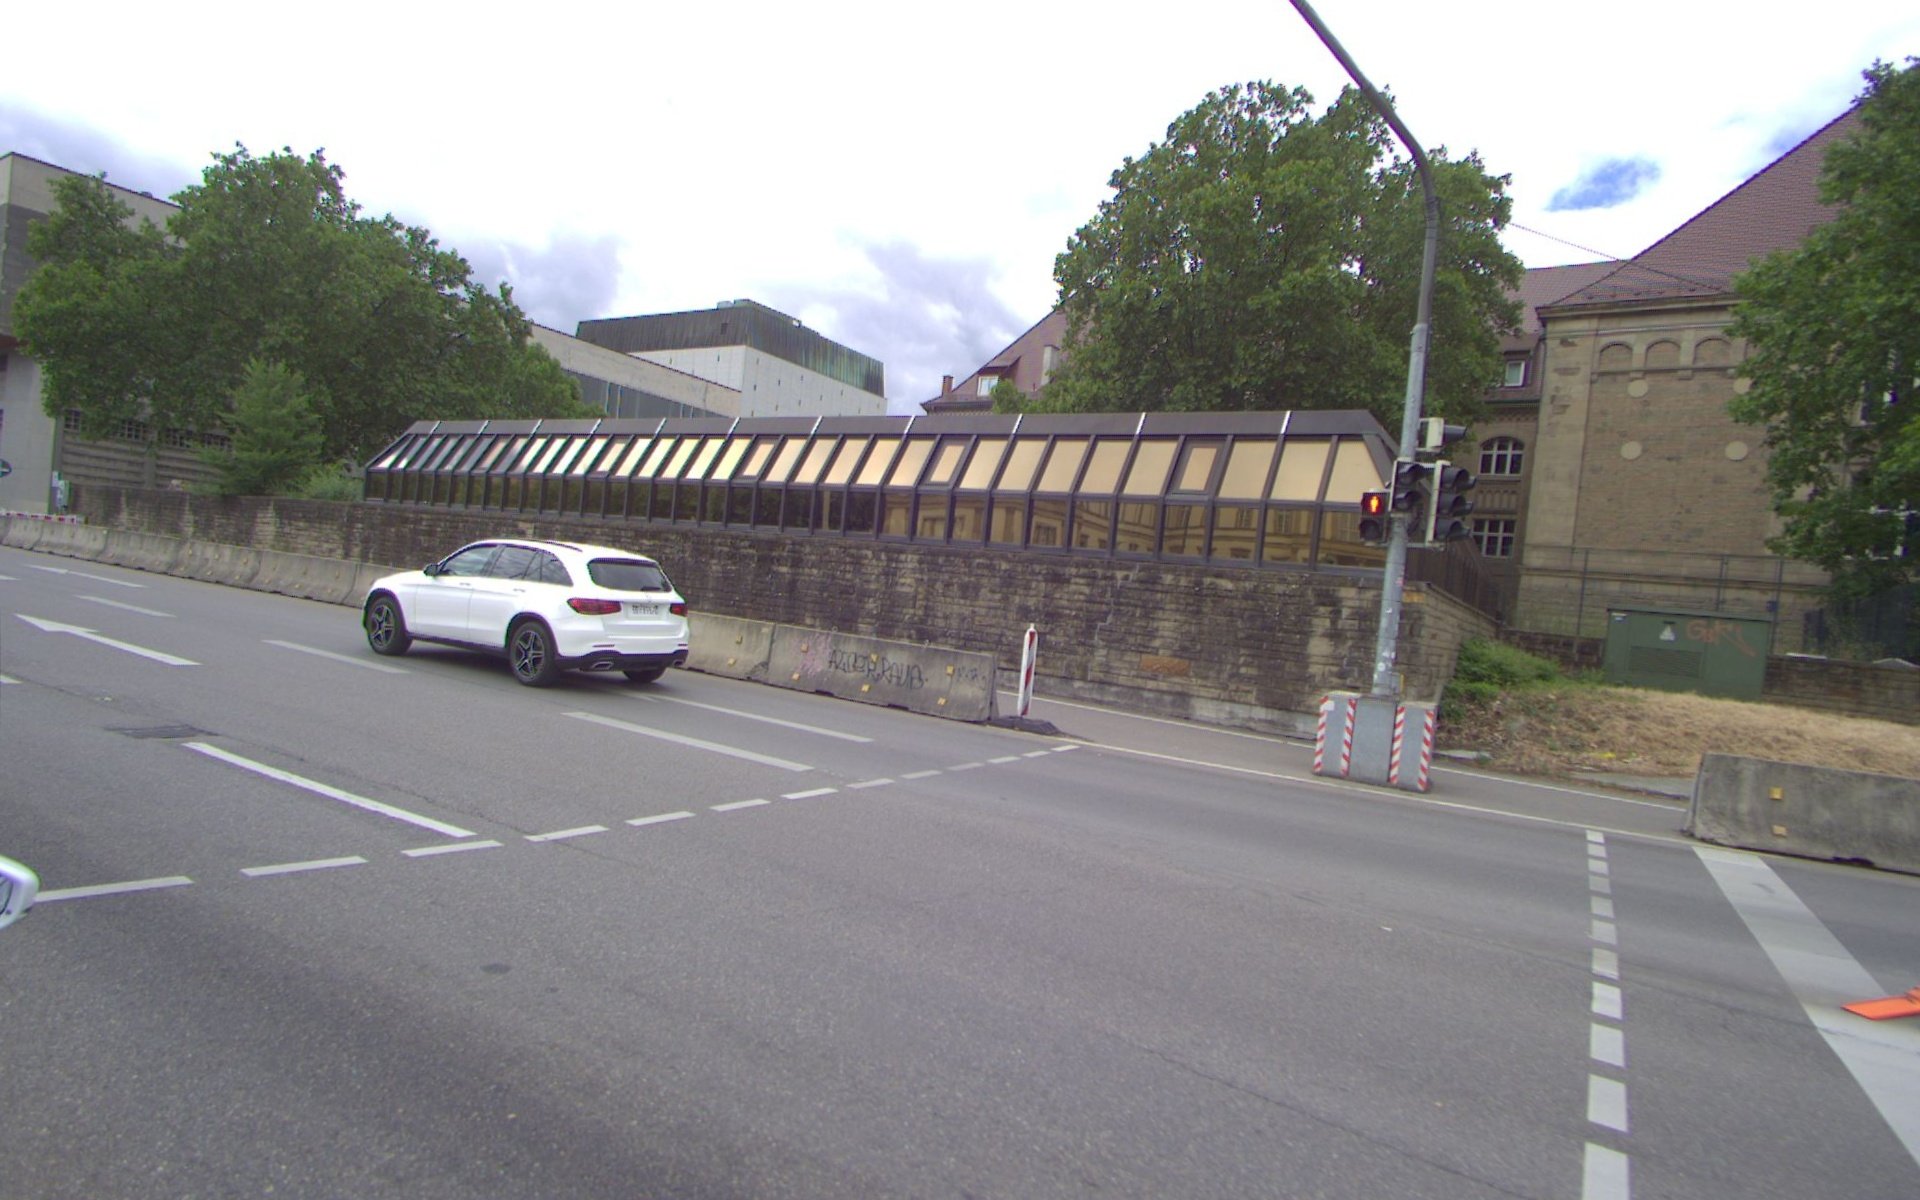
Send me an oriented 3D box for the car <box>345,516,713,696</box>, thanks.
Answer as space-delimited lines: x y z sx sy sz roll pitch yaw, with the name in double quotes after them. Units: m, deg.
-5.460 0.008 12.593 4.474 1.664 1.813 7 2 29 "car"
